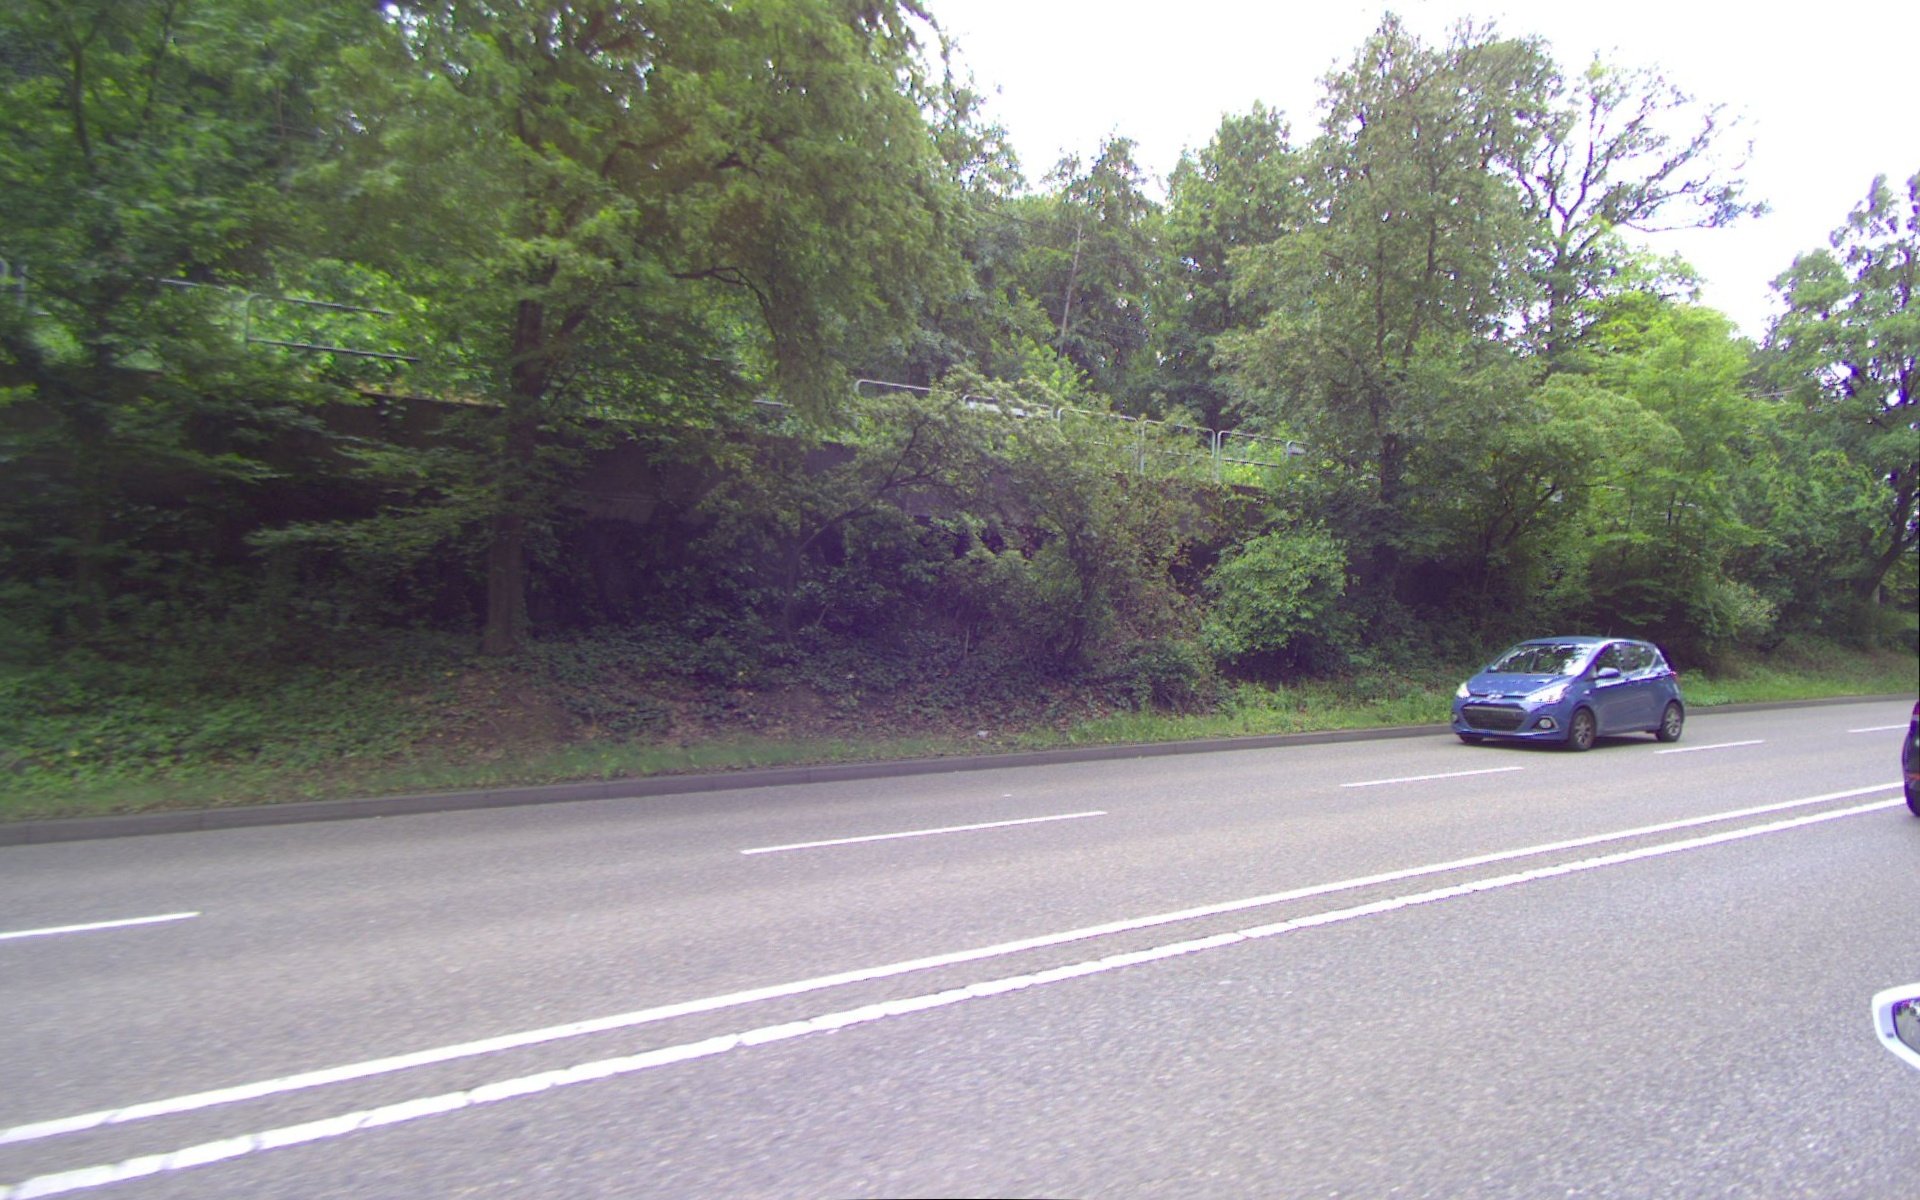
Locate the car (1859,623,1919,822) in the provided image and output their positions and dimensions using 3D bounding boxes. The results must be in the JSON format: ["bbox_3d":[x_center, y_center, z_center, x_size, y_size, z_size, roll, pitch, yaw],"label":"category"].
[{"bbox_3d":[9.225,0.979,8.013,3.953,1.485,1.940,2,0,-30],"label":"car"}]

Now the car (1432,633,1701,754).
[{"bbox_3d":[8.698,1.258,14.343,3.955,1.505,1.661,2,-3,-31],"label":"car"}]
